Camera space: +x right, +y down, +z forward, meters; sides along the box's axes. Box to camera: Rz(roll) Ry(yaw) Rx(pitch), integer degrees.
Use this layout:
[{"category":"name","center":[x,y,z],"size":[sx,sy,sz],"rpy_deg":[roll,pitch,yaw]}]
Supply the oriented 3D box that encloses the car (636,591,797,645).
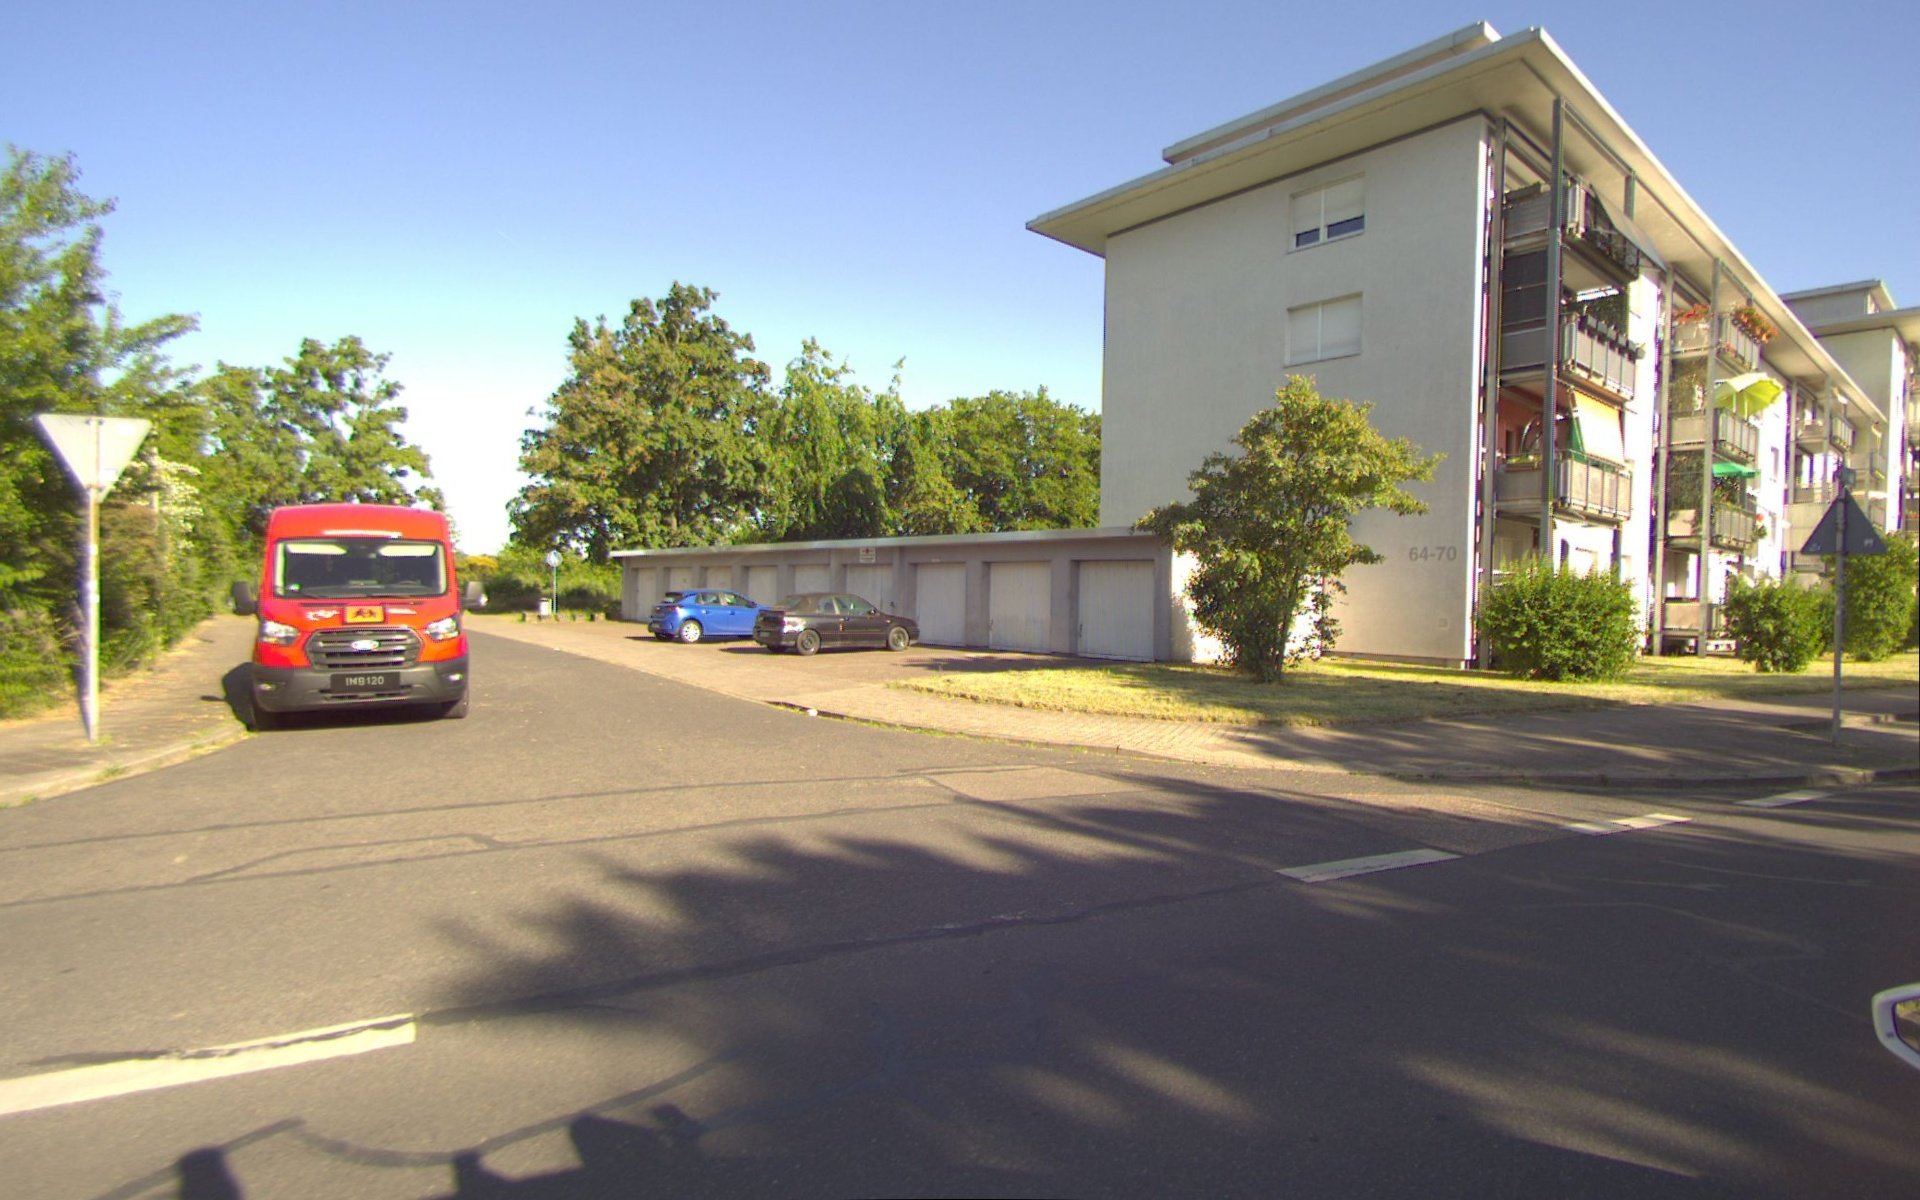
[{"category":"car","center":[-6.771,0.503,28.173],"size":[4.002,1.407,1.824],"rpy_deg":[2,-1,-42]}]

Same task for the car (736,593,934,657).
[{"category":"car","center":[-2.918,0.541,23.938],"size":[4.329,1.375,1.938],"rpy_deg":[0,1,-38]}]

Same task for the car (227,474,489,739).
[{"category":"car","center":[-7.336,0.047,12.440],"size":[2.187,2.461,5.875],"rpy_deg":[-1,0,-30]}]
